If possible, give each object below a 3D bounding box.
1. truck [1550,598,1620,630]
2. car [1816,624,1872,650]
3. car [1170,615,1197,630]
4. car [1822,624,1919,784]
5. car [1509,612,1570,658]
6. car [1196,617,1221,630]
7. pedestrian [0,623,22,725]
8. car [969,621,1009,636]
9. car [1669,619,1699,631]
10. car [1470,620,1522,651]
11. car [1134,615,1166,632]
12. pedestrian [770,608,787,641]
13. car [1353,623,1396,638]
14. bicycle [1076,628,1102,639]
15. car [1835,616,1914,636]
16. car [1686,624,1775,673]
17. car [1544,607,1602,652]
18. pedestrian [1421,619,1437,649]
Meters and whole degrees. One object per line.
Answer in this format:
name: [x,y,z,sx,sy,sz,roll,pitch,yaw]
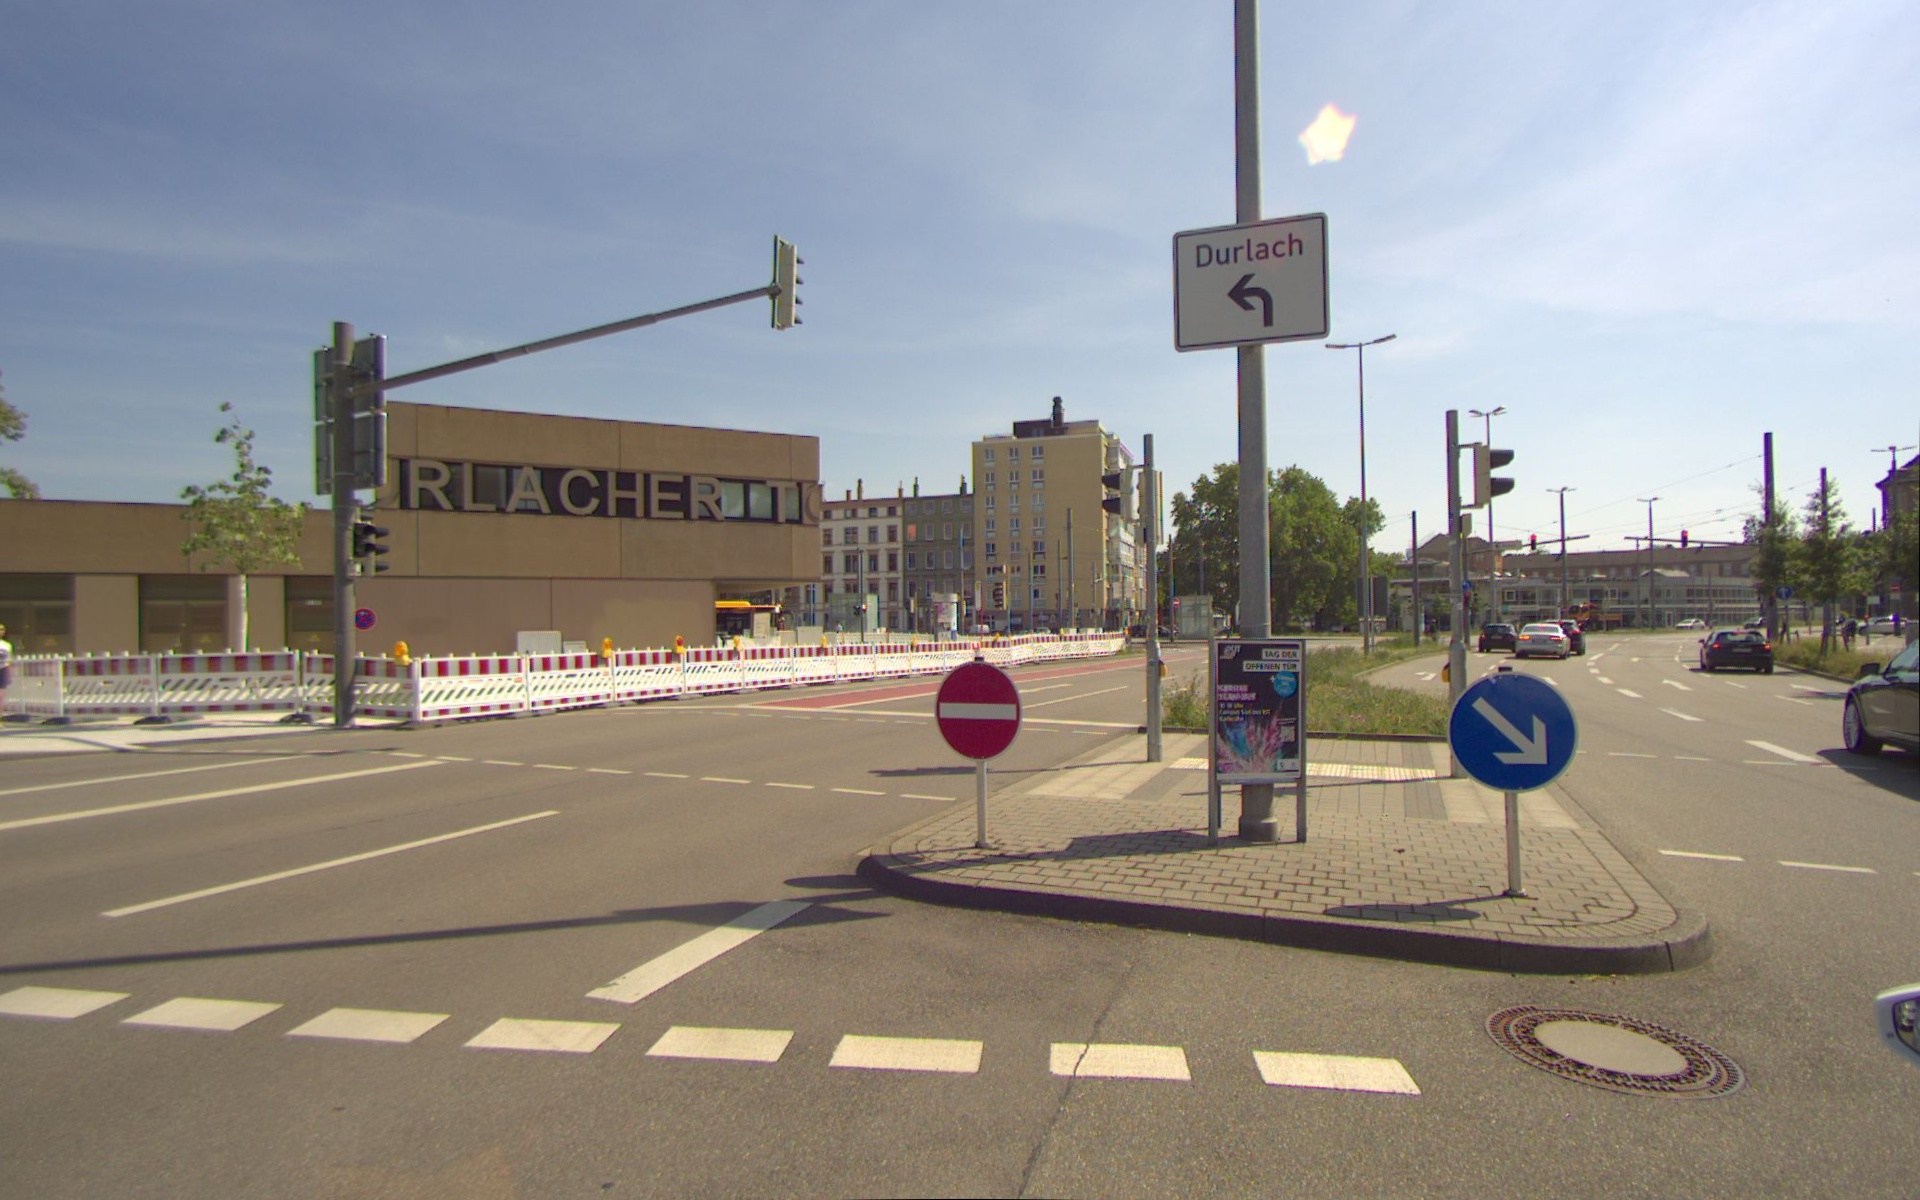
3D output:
truck: [74.822,1.702,120.221,7.813,3.779,3.058,0,-1,-22]
car: [53.631,2.216,60.925,4.238,1.530,1.781,1,-2,-38]
car: [33.822,3.405,152.217,3.919,2.041,2.001,-1,1,11]
car: [10.678,1.035,10.334,1.831,1.550,4.706,-1,-3,30]
car: [24.901,1.476,43.076,1.967,1.840,3.988,-1,-2,34]
car: [42.424,4.050,171.551,3.919,2.041,2.001,-1,1,11]
pedestrian: [-15.205,1.160,15.783,0.415,1.585,0.558,-1,-1,23]
car: [3.163,3.050,108.156,3.939,1.530,1.792,0,-1,-20]
car: [92.061,3.137,127.719,3.958,1.530,1.783,1,-2,-34]
car: [27.138,1.769,50.804,1.771,1.530,3.985,-1,-2,37]
car: [23.848,2.922,125.940,3.919,2.041,2.001,-1,1,11]
pedestrian: [-9.455,1.269,52.427,0.644,1.683,0.643,1,-1,-39]
car: [42.621,3.088,103.247,3.920,1.530,1.801,-1,-1,17]
bicycle: [14.575,3.801,113.584,2.766,1.238,0.994,-1,1,13]
car: [71.573,2.022,78.695,4.190,1.530,1.801,-1,-1,14]
car: [25.956,1.577,33.978,1.767,1.530,3.994,0,-1,28]
car: [29.404,1.401,48.151,1.968,2.040,3.985,-1,-2,37]
pedestrian: [26.665,1.909,57.109,0.640,1.683,0.660,-1,-1,40]
